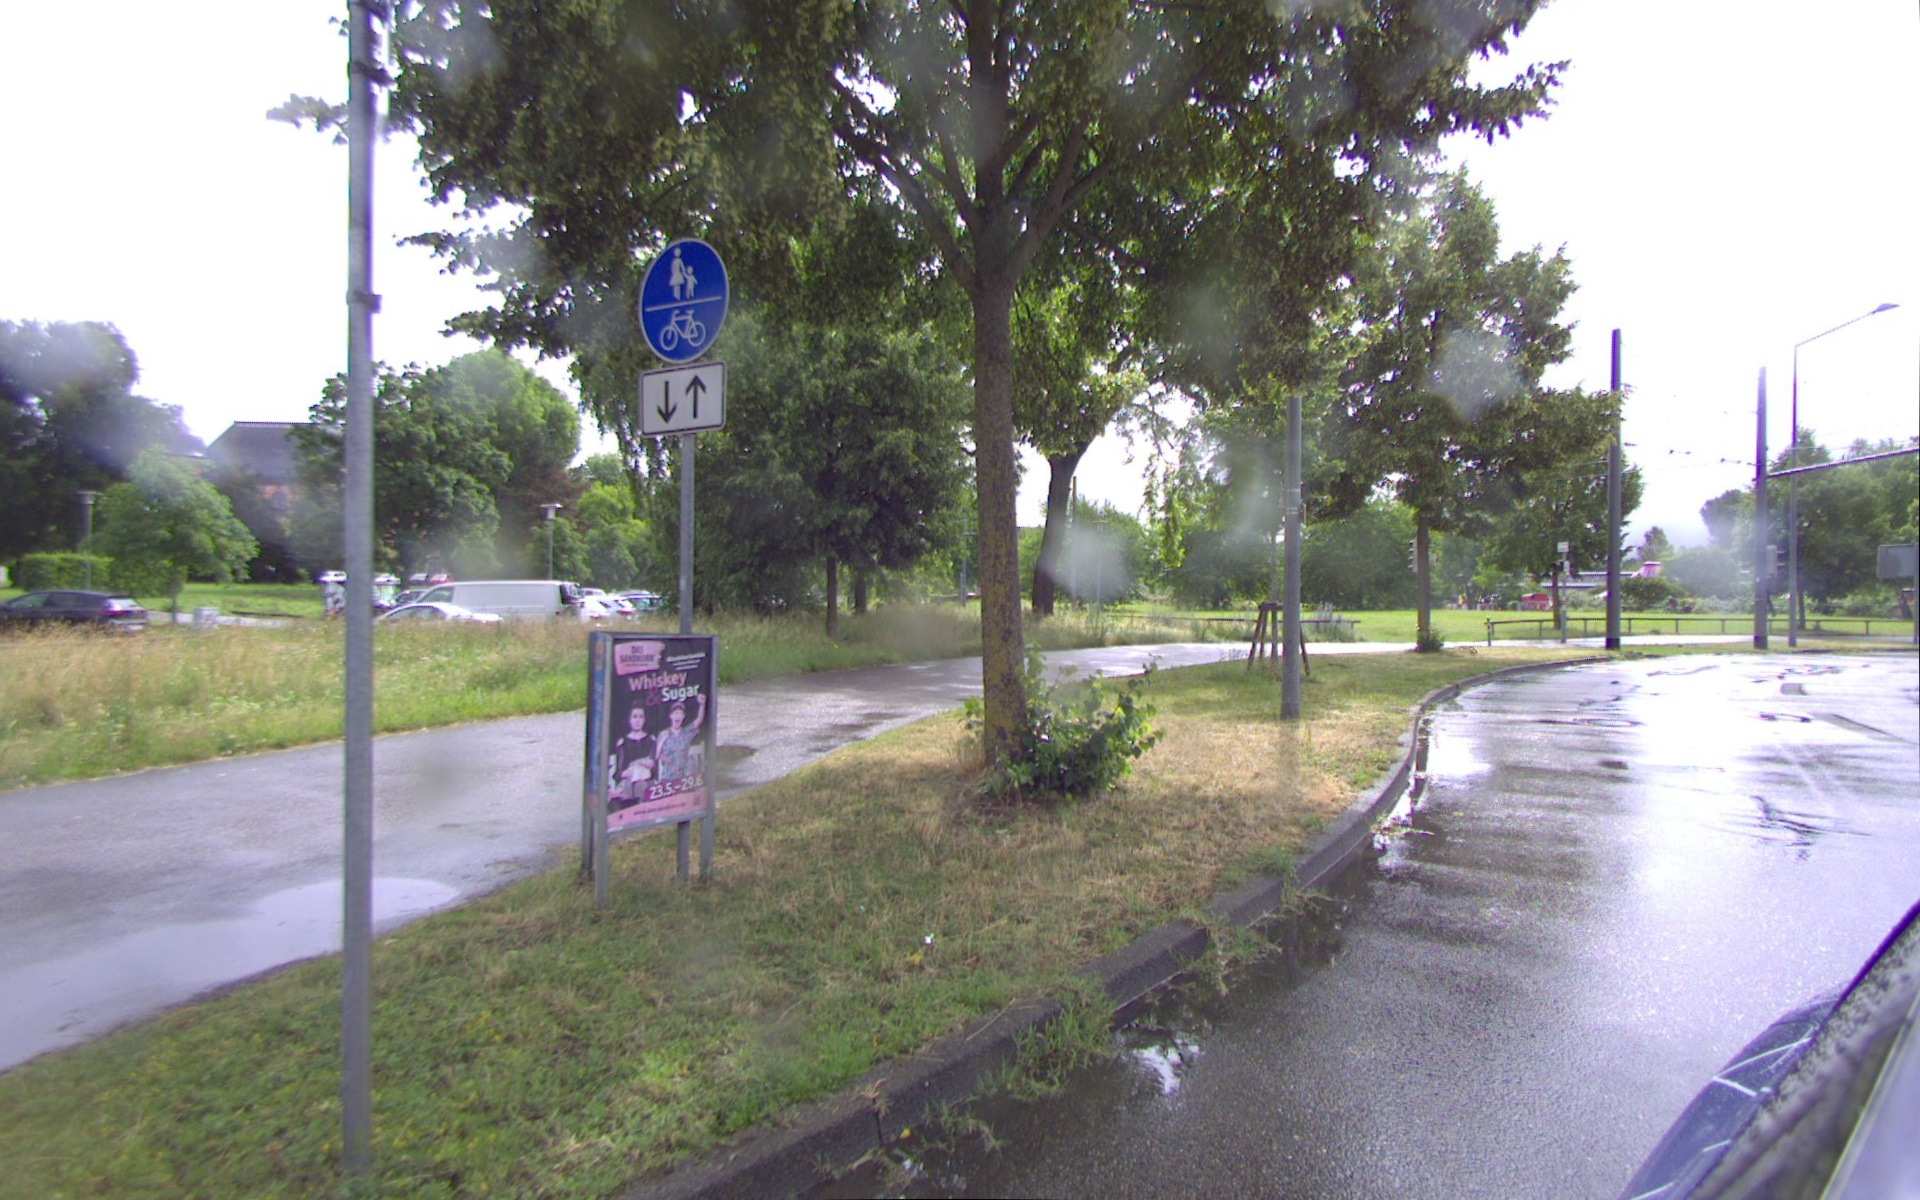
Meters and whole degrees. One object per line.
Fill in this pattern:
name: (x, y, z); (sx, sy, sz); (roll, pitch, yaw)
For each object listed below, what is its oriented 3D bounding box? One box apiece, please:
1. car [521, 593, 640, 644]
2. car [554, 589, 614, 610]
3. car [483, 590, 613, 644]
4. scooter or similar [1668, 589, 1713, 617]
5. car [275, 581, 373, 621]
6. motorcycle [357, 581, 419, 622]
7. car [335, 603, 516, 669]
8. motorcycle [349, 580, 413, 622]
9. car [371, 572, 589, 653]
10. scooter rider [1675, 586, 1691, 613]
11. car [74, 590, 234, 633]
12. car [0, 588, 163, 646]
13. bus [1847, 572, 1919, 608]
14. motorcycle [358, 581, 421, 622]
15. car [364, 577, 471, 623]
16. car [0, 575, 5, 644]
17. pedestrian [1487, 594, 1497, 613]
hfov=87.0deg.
car: (-12.964, 0.611, 34.712); (3.533, 1.684, 1.529); (0, 0, 2)
car: (-28.053, -0.072, 75.583); (3.921, 1.547, 1.800); (0, 0, -3)
car: (-13.043, 0.529, 32.150); (3.533, 1.684, 1.529); (0, 0, 2)
scooter or similar: (56.089, 0.262, 77.804); (1.218, 2.040, 3.402); (1, -2, 6)
car: (-34.279, 0.093, 54.633); (3.919, 2.040, 2.002); (1, -2, -7)
motorcycle: (-25.673, 0.080, 45.456); (2.302, 1.790, 0.660); (1, -2, -7)
car: (-12.852, 0.847, 24.463); (3.551, 1.529, 1.609); (0, 0, 0)
motorcycle: (-25.092, 0.044, 43.904); (2.302, 1.790, 0.660); (1, -2, -7)
car: (-13.256, 0.307, 28.193); (5.063, 2.083, 2.113); (1, 1, 0)
scooter rider: (56.040, -0.031, 78.451); (0.693, 2.040, 0.769); (1, -2, 3)
car: (-24.456, 0.334, 30.806); (3.511, 1.252, 1.664); (0, 0, -3)
car: (-24.181, 0.453, 27.578); (3.512, 1.362, 1.664); (3, 0, -2)
bus: (95.930, -1.004, 101.023); (1.964, 3.505, 10.969); (3, -2, -40)
motorcycle: (-25.285, 0.069, 44.859); (2.302, 1.790, 0.660); (1, -2, -7)
car: (-25.500, 0.021, 47.668); (3.919, 2.040, 2.002); (1, -2, -7)
car: (-23.810, 0.129, 22.080); (4.024, 1.571, 1.854); (3, 0, -5)
pedestrian: (50.283, 0.334, 95.674); (0.594, 1.754, 0.599); (2, -3, -35)
